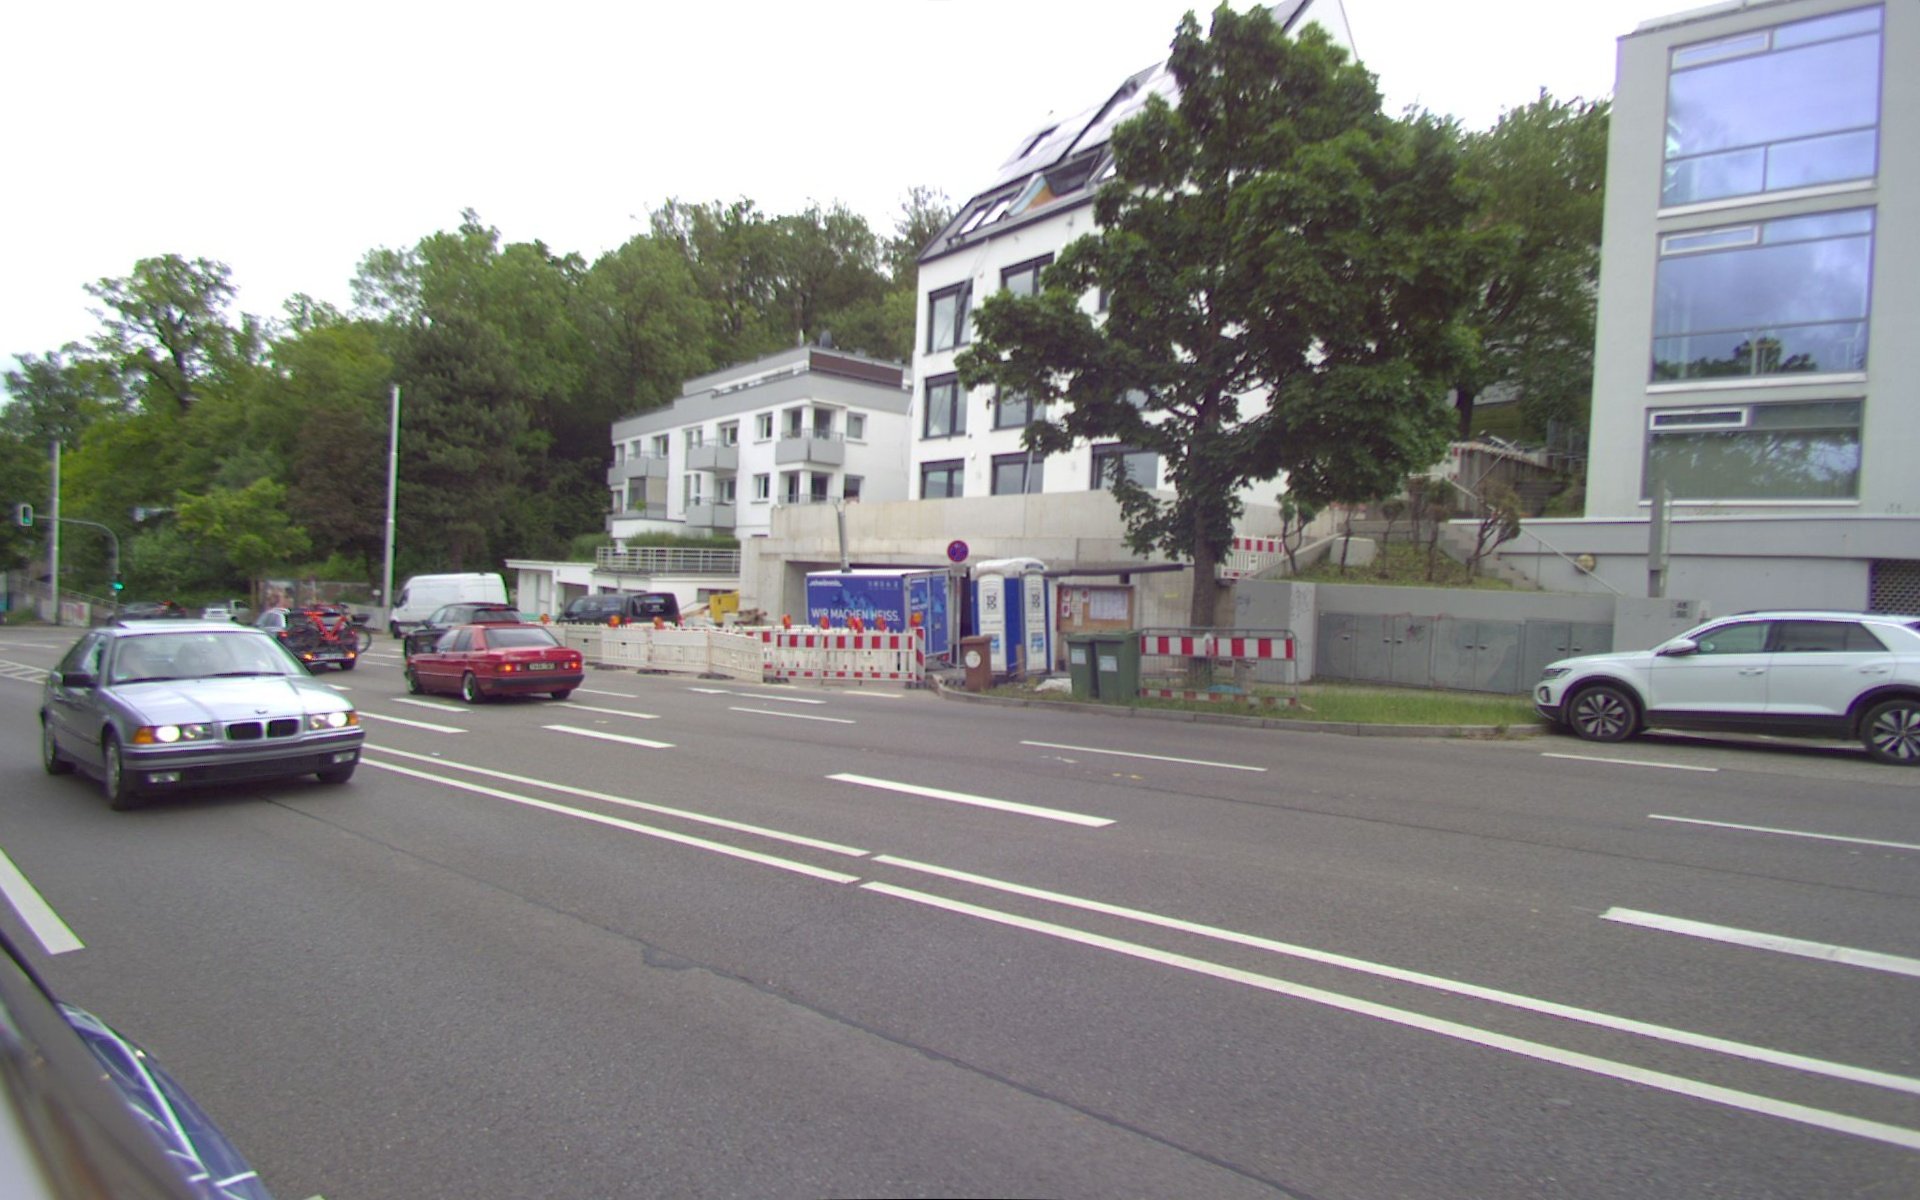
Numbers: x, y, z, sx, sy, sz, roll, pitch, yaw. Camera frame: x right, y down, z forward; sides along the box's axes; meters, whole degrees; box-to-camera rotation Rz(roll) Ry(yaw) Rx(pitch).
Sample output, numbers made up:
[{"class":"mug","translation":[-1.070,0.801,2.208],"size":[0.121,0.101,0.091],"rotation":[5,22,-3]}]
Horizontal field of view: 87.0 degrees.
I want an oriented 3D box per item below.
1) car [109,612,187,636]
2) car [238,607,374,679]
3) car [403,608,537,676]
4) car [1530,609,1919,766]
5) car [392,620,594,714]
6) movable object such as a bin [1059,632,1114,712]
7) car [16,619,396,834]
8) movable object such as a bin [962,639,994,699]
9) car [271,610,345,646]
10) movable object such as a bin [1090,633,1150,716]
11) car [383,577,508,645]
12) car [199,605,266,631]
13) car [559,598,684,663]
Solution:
[{"class":"car","translation":[-43.987,1.273,54.818],"size":[3.260,1.294,1.562],"rotation":[0,-1,11]},{"class":"car","translation":[-16.144,0.991,24.884],"size":[4.664,1.609,1.756],"rotation":[-1,-1,43]},{"class":"car","translation":[-12.759,1.020,26.226],"size":[4.226,1.609,1.756],"rotation":[-1,-1,43]},{"class":"car","translation":[8.949,0.884,11.309],"size":[4.238,1.515,1.650],"rotation":[-1,-2,43]},{"class":"car","translation":[-8.233,1.071,17.668],"size":[4.322,1.392,1.729],"rotation":[-1,-1,43]},{"class":"movable object such as a bin","translation":[1.897,1.067,15.207],"size":[0.577,1.146,0.586],"rotation":[1,-1,-43]},{"class":"car","translation":[-6.744,0.882,8.843],"size":[4.615,1.393,1.618],"rotation":[-1,-1,40]},{"class":"movable object such as a bin","translation":[0.302,1.159,17.038],"size":[0.322,0.982,0.426],"rotation":[1,-1,-43]},{"class":"car","translation":[-27.672,1.156,42.937],"size":[3.288,1.454,1.564],"rotation":[-1,-1,36]},{"class":"movable object such as a bin","translation":[2.324,1.064,14.743],"size":[0.581,1.146,0.646],"rotation":[1,-1,-43]},{"class":"car","translation":[-20.807,0.431,40.781],"size":[6.525,2.545,1.974],"rotation":[-1,0,39]},{"class":"car","translation":[-42.180,1.031,58.774],"size":[1.561,1.454,3.295],"rotation":[0,-1,-1]},{"class":"car","translation":[-10.021,0.850,29.840],"size":[4.252,1.764,1.786],"rotation":[-1,0,45]}]
